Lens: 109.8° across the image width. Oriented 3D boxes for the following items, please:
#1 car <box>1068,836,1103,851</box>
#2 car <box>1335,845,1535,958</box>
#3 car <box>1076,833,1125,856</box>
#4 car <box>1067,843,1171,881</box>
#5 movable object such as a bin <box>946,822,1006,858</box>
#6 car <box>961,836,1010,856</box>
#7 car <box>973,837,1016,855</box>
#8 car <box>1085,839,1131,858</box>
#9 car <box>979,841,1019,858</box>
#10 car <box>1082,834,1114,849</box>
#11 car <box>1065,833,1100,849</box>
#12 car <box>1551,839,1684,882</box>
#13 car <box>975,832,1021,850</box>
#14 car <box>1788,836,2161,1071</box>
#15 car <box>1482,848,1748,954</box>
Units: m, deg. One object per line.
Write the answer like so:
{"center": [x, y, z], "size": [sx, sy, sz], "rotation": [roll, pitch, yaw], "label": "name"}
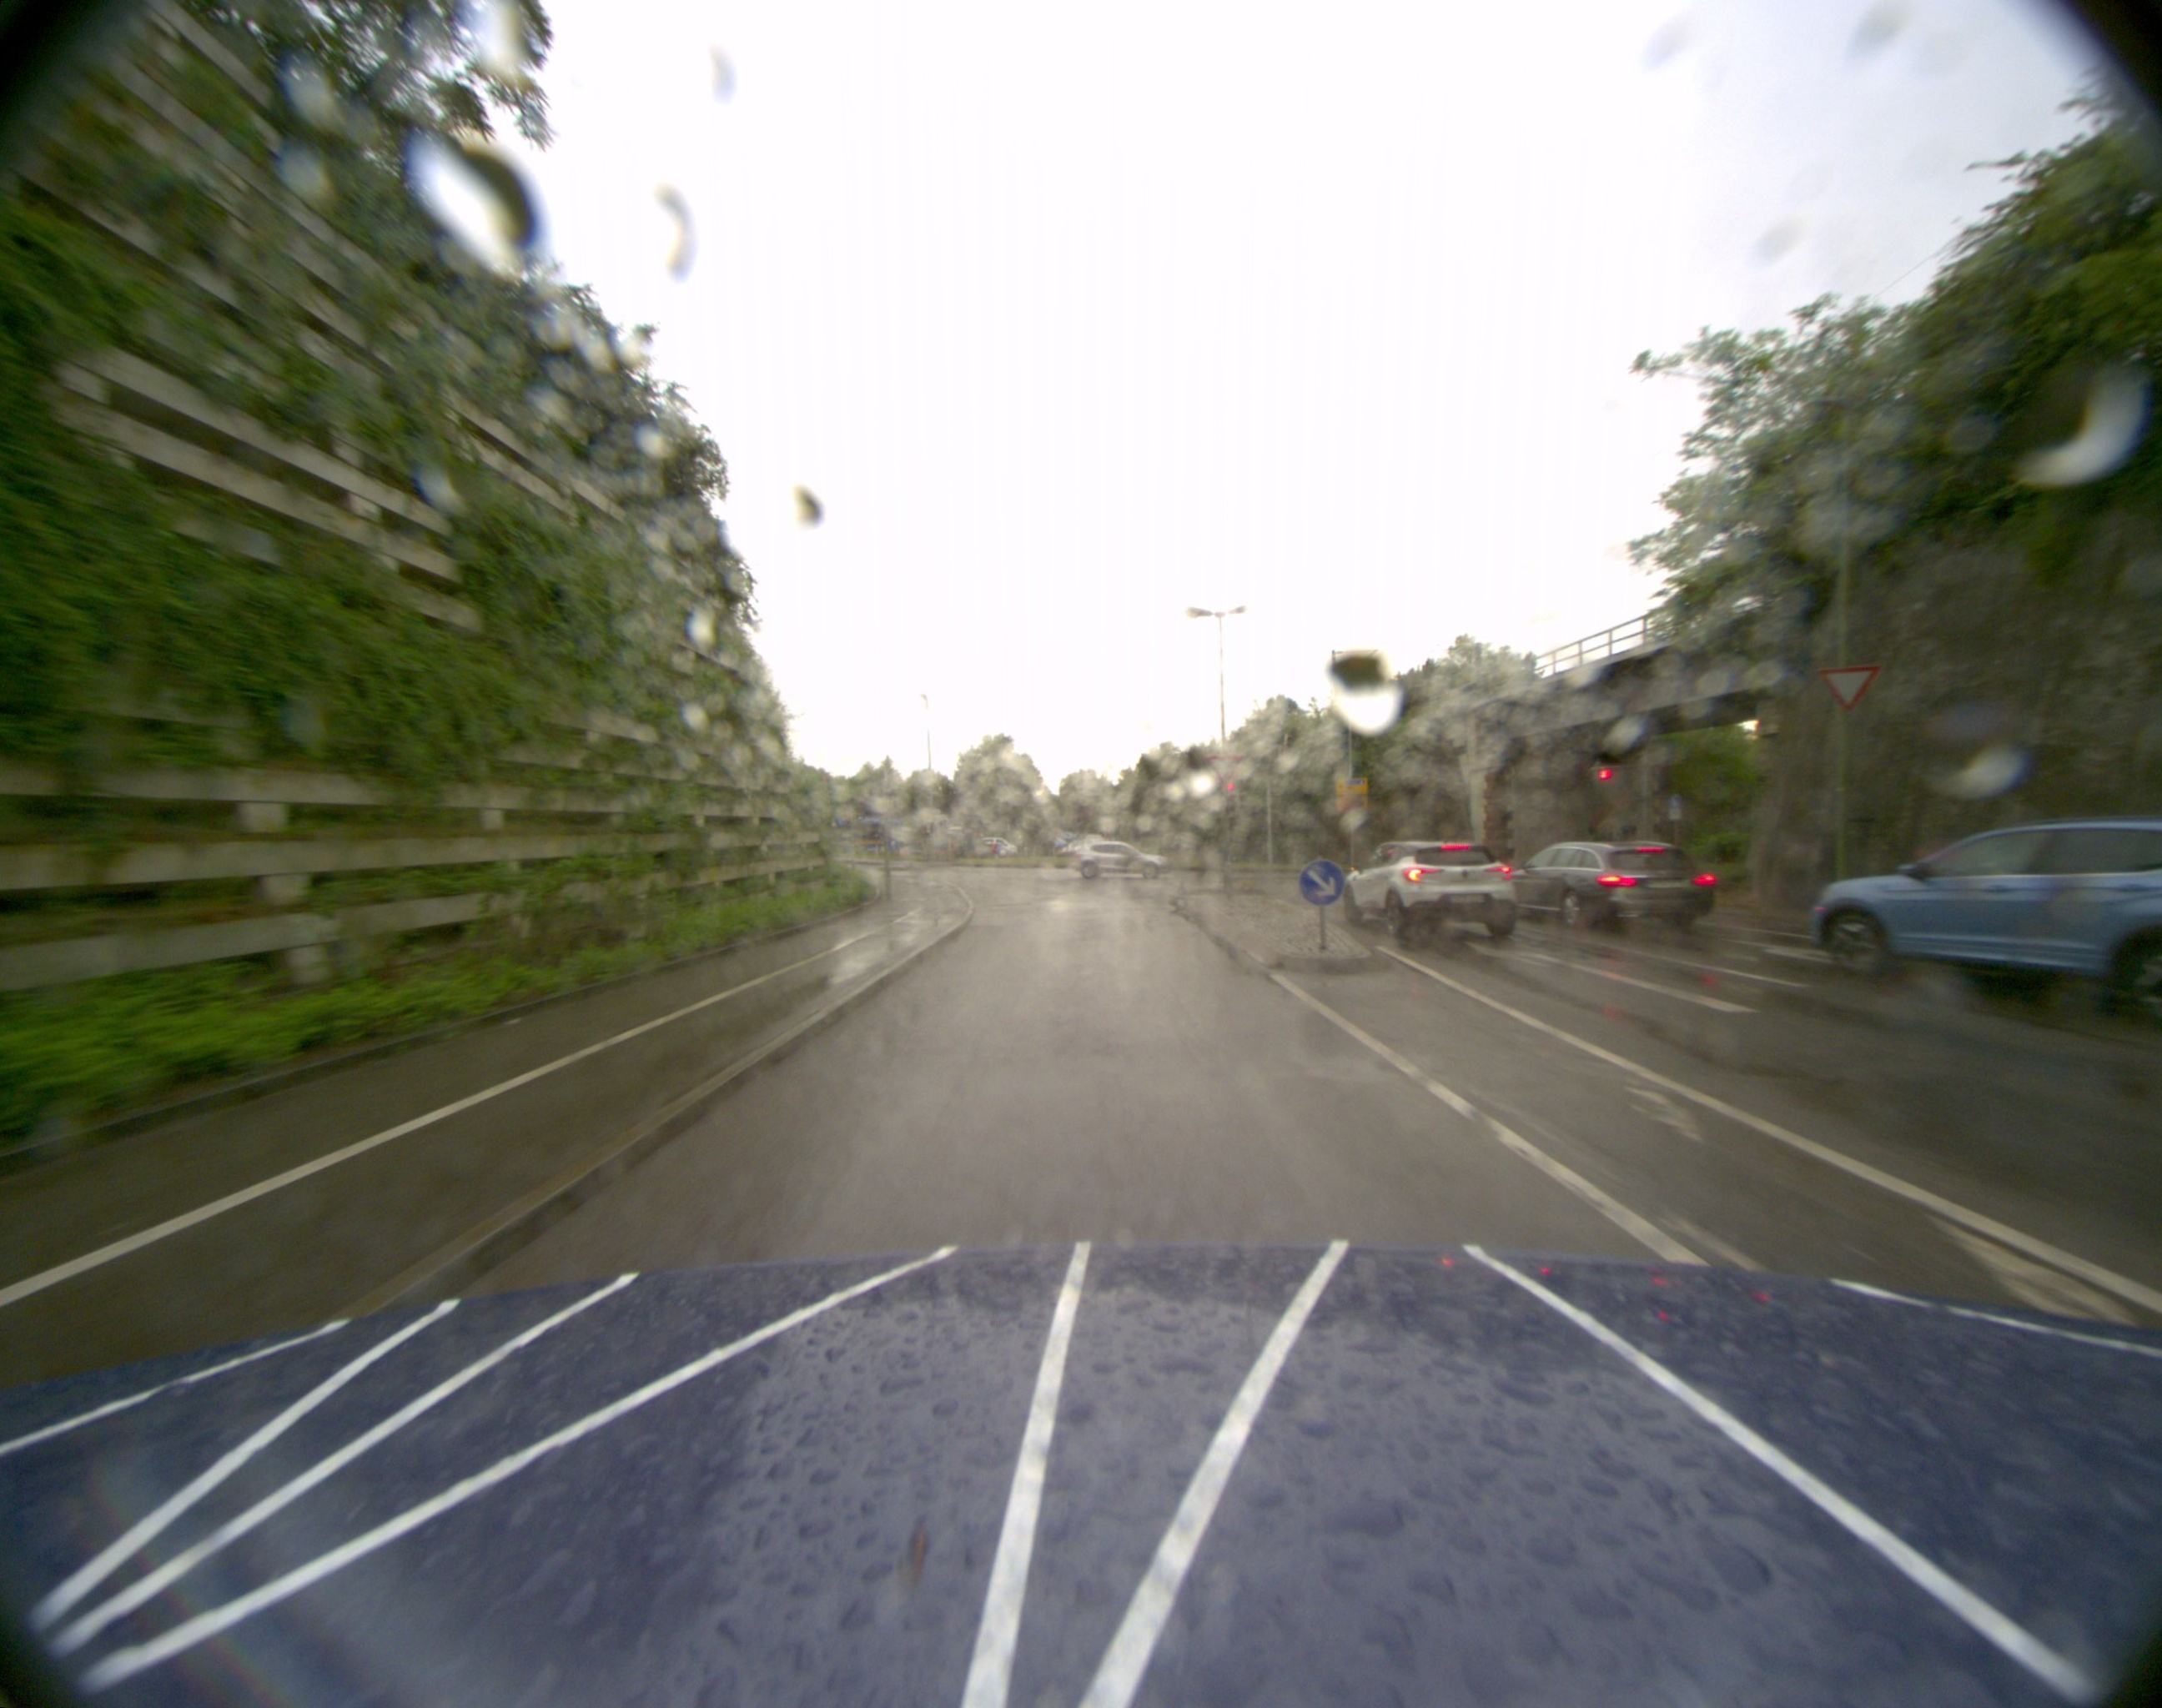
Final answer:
{"center": [0.483, -1.257, 86.996], "size": [3.880, 1.619, 1.693], "rotation": [1, 1, -4], "label": "car"}
{"center": [5.875, 0.692, 13.187], "size": [1.873, 1.592, 4.001], "rotation": [-3, 0, 6], "label": "car"}
{"center": [1.743, -0.867, 67.569], "size": [4.232, 1.969, 1.904], "rotation": [1, 2, 0], "label": "car"}
{"center": [1.627, 0.311, 32.307], "size": [4.146, 1.499, 1.684], "rotation": [1, 1, 13], "label": "car"}
{"center": [-8.274, -1.043, 59.225], "size": [2.315, 2.670, 5.688], "rotation": [0, 0, -35], "label": "movable object such as a bin"}
{"center": [-8.130, -0.687, 64.899], "size": [3.997, 1.565, 1.670], "rotation": [1, 1, 0], "label": "car"}
{"center": [-7.900, -0.701, 69.851], "size": [3.707, 1.565, 1.592], "rotation": [1, 1, 1], "label": "car"}
{"center": [2.286, -0.469, 65.111], "size": [3.822, 1.559, 1.774], "rotation": [1, 1, 0], "label": "car"}
{"center": [-7.801, -0.439, 72.252], "size": [3.624, 1.503, 1.592], "rotation": [1, 1, 1], "label": "car"}
{"center": [1.913, -1.384, 84.267], "size": [3.478, 1.531, 1.447], "rotation": [1, 2, -2], "label": "car"}
{"center": [0.135, -1.524, 89.406], "size": [3.961, 1.869, 1.693], "rotation": [1, 2, -4], "label": "car"}
{"center": [20.721, 0.253, 29.493], "size": [3.882, 1.561, 1.684], "rotation": [-1, 1, 10], "label": "car"}
{"center": [-8.435, -1.307, 77.167], "size": [4.386, 1.756, 1.921], "rotation": [1, 1, 1], "label": "car"}
{"center": [8.701, 0.686, 6.508], "size": [1.818, 1.648, 4.052], "rotation": [-1, 1, 6], "label": "car"}
{"center": [9.264, 0.682, 13.804], "size": [1.997, 1.494, 4.731], "rotation": [1, 1, 8], "label": "car"}
